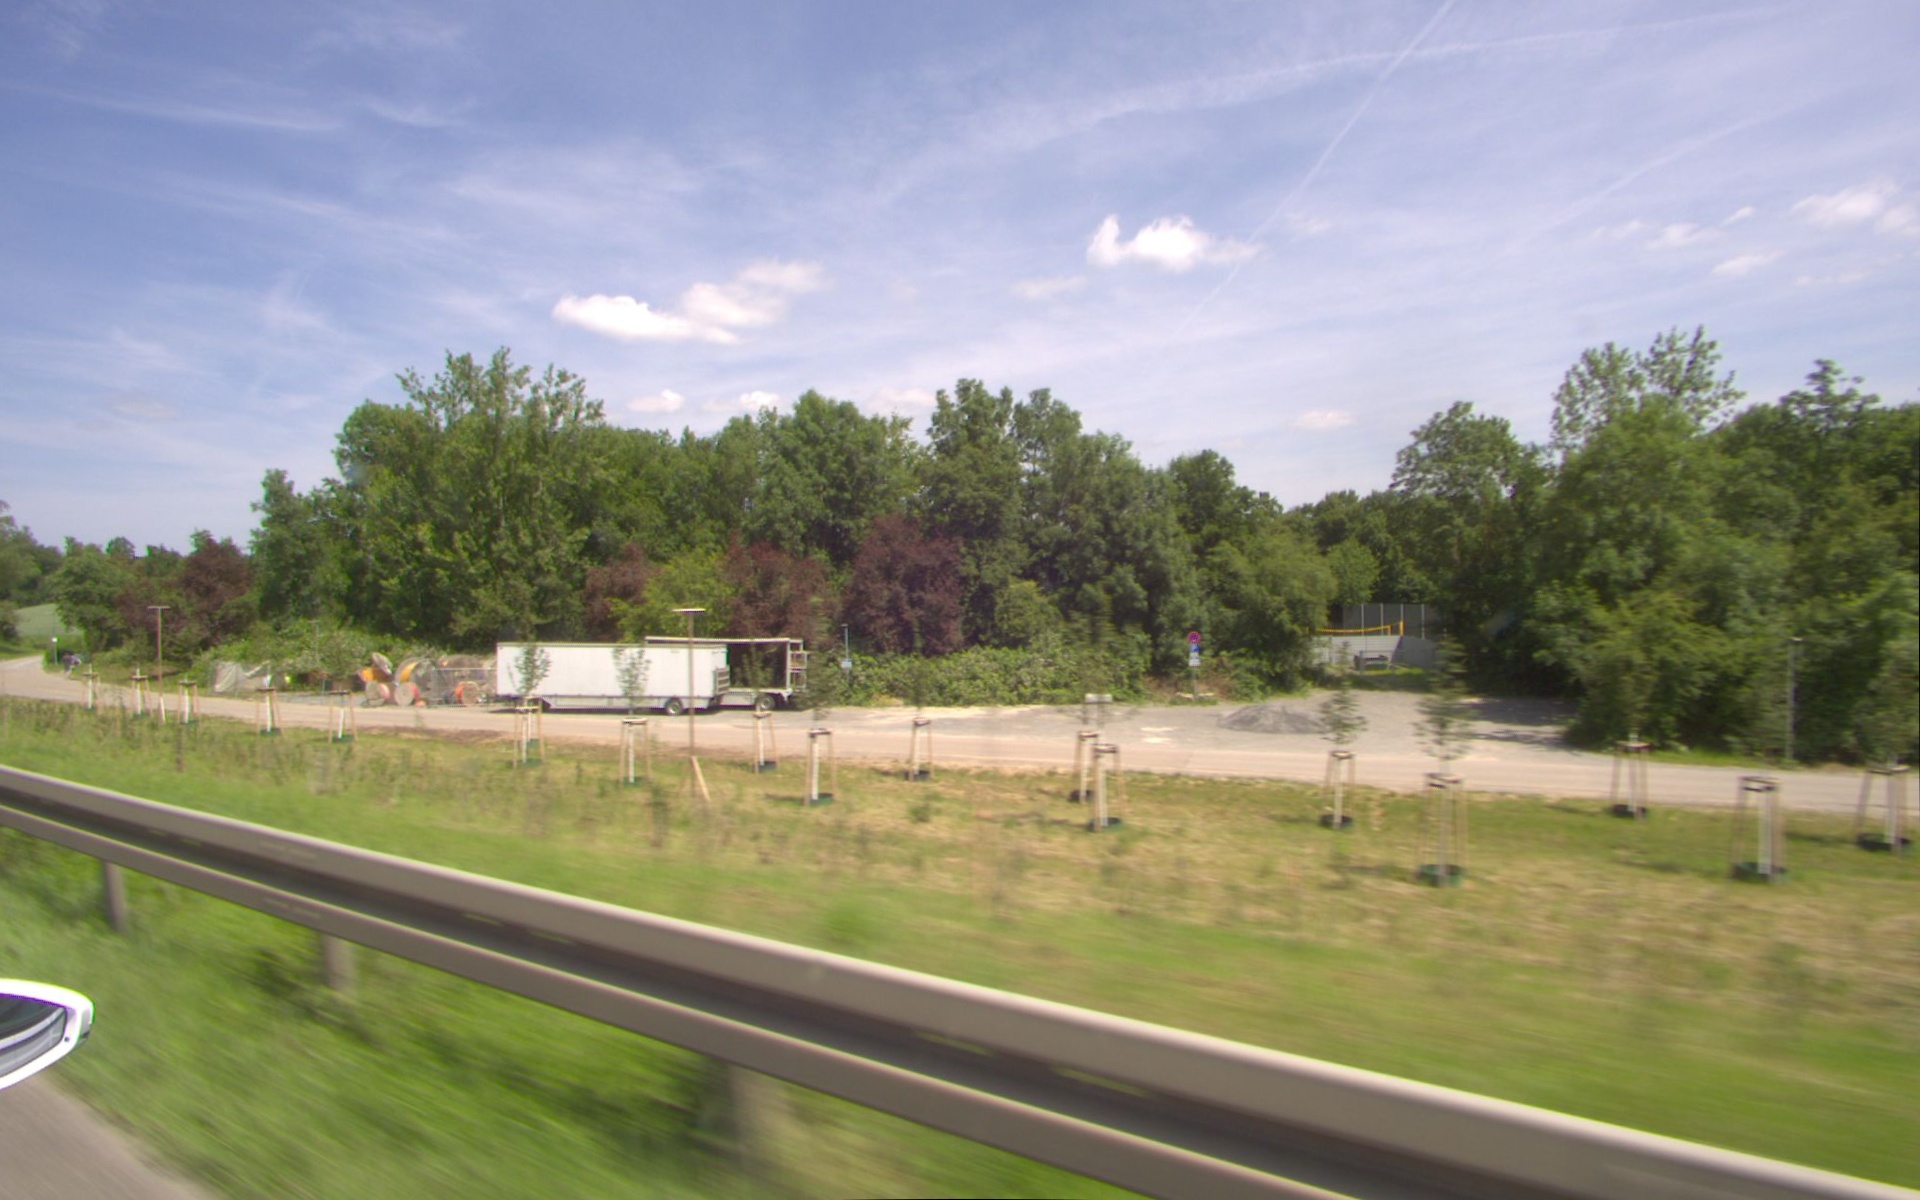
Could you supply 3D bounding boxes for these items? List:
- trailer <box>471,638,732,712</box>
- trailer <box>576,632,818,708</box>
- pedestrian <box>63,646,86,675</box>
[{"bbox_3d":[-17.100,3.552,48.213,11.662,3.371,2.728,0,-1,3],"label":"trailer"},{"bbox_3d":[-13.276,3.518,51.013,11.663,3.652,2.728,0,-1,5],"label":"trailer"},{"bbox_3d":[-60.168,4.096,68.037,0.945,1.836,0.883,0,3,31],"label":"pedestrian"}]
